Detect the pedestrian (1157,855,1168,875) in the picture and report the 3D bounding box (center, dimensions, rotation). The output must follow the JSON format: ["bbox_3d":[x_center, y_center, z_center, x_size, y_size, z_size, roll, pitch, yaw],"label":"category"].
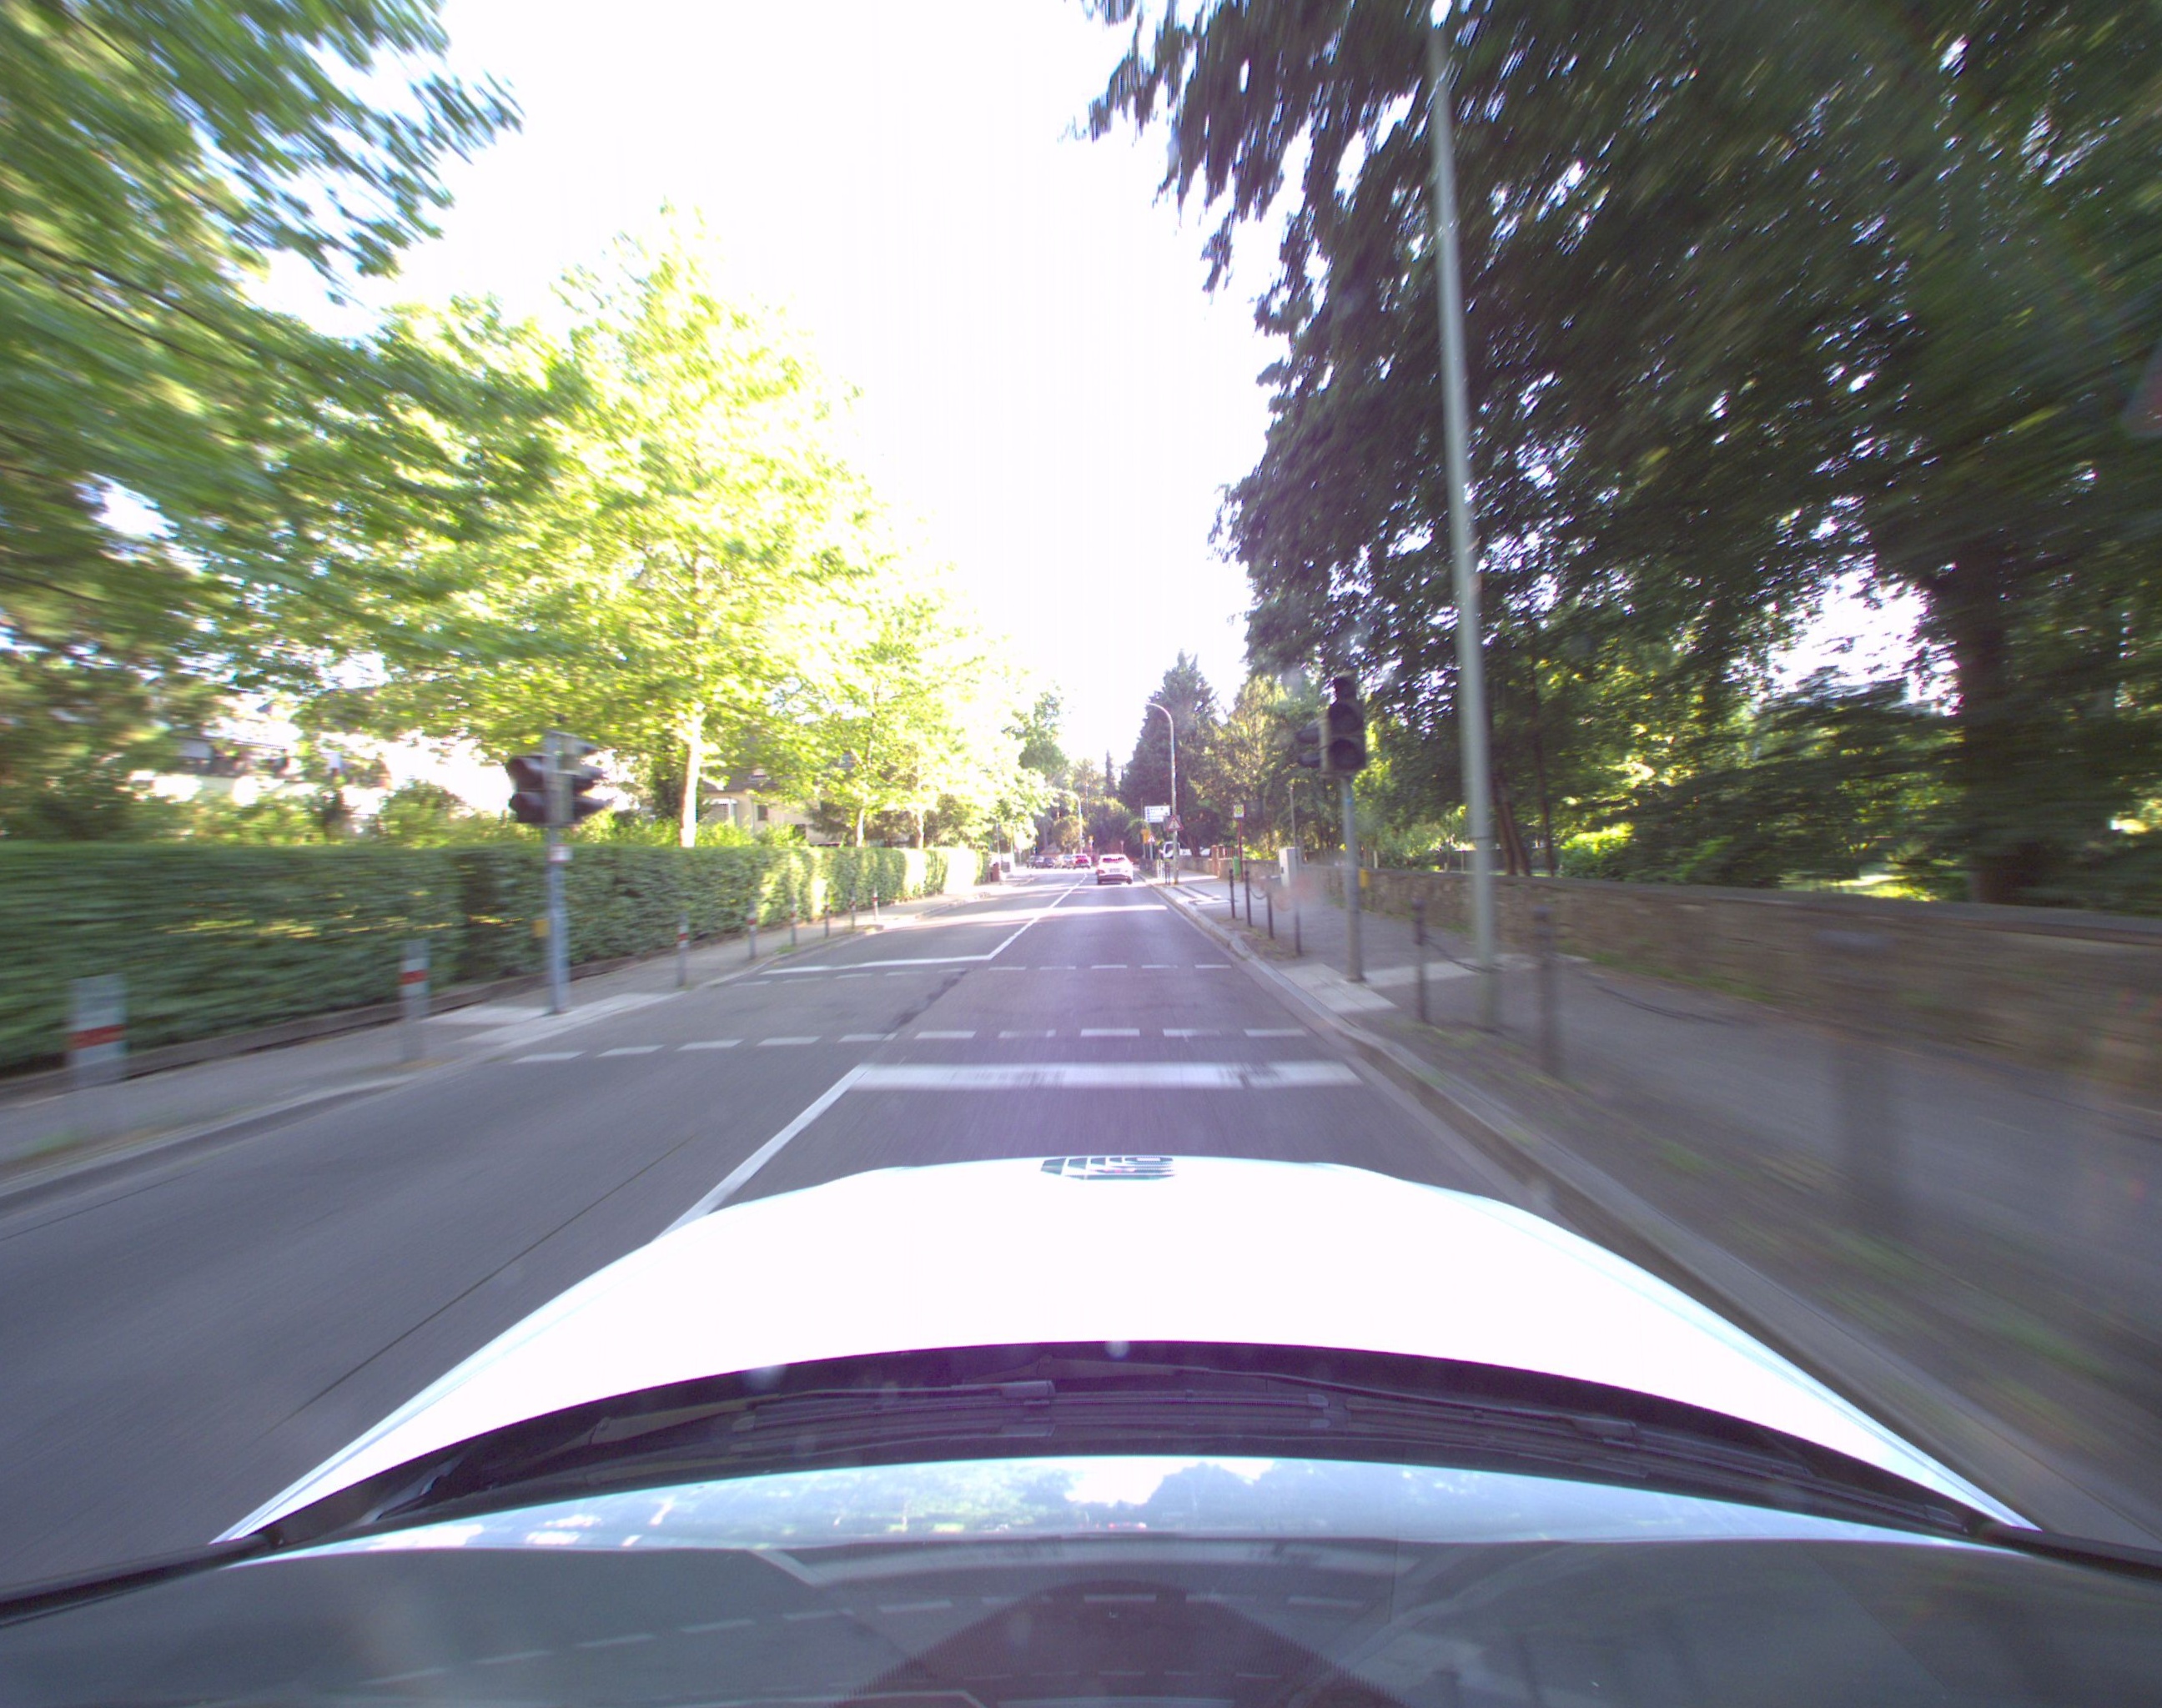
[{"bbox_3d":[7.625,1.048,76.373,0.947,1.826,0.548,-1,1,-37],"label":"pedestrian"}]

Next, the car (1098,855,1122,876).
[{"bbox_3d":[2.211,0.871,63.544,1.799,1.537,4.001,-1,0,1],"label":"car"}]

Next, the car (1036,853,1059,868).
[{"bbox_3d":[-4.096,0.763,99.172,1.835,1.662,3.979,-1,0,-16],"label":"car"}]

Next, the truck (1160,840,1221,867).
[{"bbox_3d":[12.076,-0.036,90.036,6.553,2.895,2.438,-1,0,6],"label":"truck"}]

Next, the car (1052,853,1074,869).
[{"bbox_3d":[-2.113,0.747,92.811,1.833,1.741,3.984,-1,0,-11],"label":"car"}]

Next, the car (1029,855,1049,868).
[{"bbox_3d":[-5.564,0.957,107.667,1.836,1.662,3.977,-1,0,-17],"label":"car"}]

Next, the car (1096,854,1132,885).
[{"bbox_3d":[1.743,0.786,43.271,1.814,1.574,4.001,1,0,1],"label":"car"}]

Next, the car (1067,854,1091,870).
[{"bbox_3d":[-0.220,0.810,84.998,1.831,1.662,3.987,-1,0,-10],"label":"car"}]
